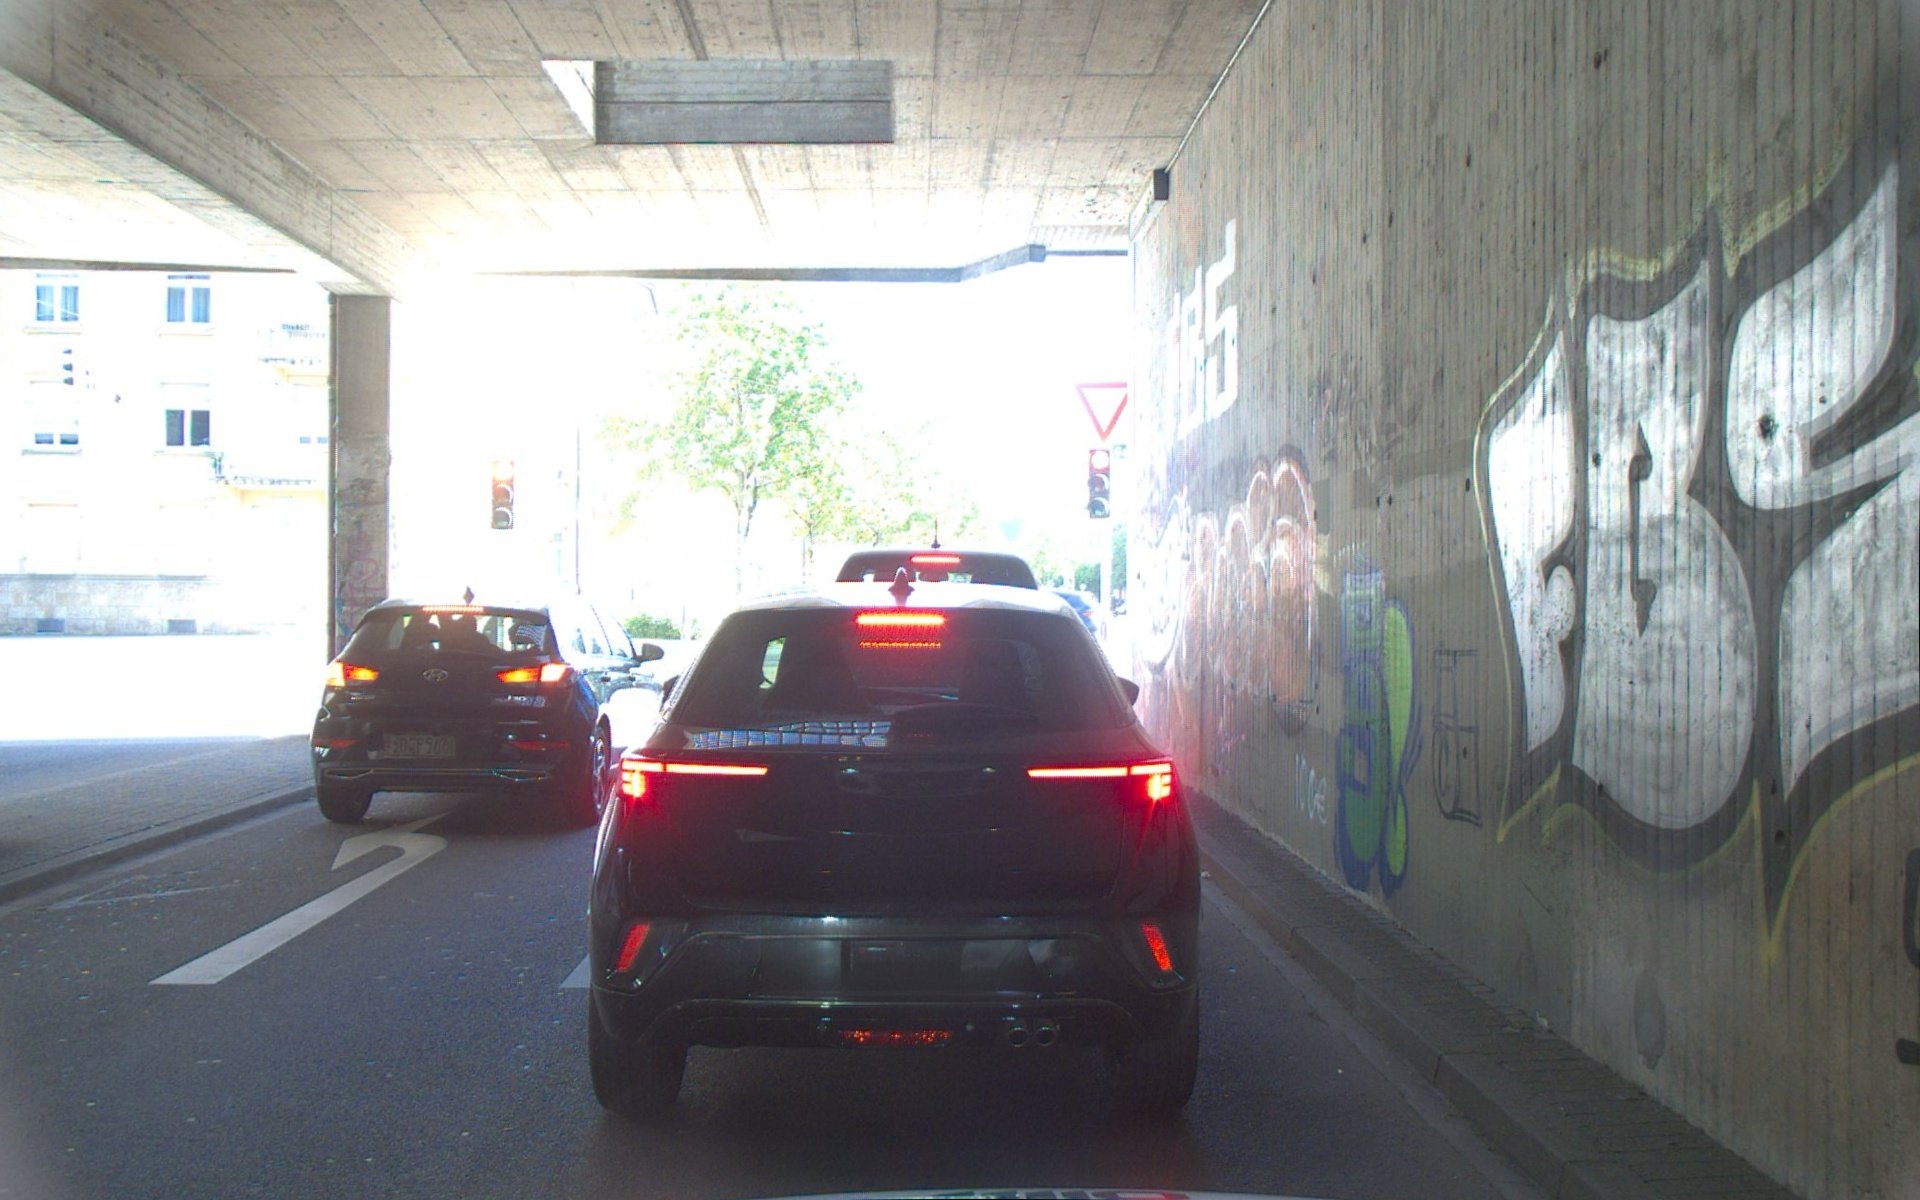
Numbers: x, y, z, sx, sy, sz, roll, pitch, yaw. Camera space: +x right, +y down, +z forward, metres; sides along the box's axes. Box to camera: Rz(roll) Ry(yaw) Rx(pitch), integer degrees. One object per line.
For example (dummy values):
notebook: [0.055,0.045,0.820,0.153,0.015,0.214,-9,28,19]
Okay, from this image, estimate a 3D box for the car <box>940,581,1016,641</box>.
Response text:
car: [0.494,0.338,44.203,1.927,1.523,3.896,0,-1,1]

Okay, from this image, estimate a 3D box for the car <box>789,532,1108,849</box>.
car: [-0.097,0.530,11.909,1.906,1.892,3.963,0,0,-1]

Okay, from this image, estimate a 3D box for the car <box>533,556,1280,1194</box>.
car: [-0.156,0.668,6.085,1.844,1.565,3.963,0,0,-1]

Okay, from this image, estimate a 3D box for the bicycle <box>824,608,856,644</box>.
bicycle: [-3.778,0.805,52.071,0.612,1.086,1.690,1,0,9]

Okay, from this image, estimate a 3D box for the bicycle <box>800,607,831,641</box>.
bicycle: [-4.769,0.784,54.555,0.612,1.086,1.690,1,0,9]

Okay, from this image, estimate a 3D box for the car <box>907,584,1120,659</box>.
car: [1.174,0.440,36.078,4.294,1.579,1.883,0,0,19]

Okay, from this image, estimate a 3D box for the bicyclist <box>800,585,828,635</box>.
bicyclist: [-4.790,0.335,54.336,0.713,1.609,0.815,1,-1,9]

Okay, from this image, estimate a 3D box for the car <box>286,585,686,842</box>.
car: [-3.114,0.655,11.754,1.744,1.472,4.177,1,0,-2]

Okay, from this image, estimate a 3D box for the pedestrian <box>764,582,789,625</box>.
pedestrian: [-8.908,0.171,80.166,0.971,2.049,1.089,0,0,7]

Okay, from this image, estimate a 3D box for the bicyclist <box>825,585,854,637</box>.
bicyclist: [-3.791,0.339,52.051,0.713,1.609,0.815,1,-1,9]

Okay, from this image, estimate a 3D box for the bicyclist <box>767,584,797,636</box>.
bicyclist: [-5.541,0.306,51.480,0.713,1.609,0.815,1,-1,9]

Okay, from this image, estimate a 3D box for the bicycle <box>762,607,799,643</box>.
bicycle: [-5.560,0.771,51.446,0.716,1.086,1.690,1,0,9]
